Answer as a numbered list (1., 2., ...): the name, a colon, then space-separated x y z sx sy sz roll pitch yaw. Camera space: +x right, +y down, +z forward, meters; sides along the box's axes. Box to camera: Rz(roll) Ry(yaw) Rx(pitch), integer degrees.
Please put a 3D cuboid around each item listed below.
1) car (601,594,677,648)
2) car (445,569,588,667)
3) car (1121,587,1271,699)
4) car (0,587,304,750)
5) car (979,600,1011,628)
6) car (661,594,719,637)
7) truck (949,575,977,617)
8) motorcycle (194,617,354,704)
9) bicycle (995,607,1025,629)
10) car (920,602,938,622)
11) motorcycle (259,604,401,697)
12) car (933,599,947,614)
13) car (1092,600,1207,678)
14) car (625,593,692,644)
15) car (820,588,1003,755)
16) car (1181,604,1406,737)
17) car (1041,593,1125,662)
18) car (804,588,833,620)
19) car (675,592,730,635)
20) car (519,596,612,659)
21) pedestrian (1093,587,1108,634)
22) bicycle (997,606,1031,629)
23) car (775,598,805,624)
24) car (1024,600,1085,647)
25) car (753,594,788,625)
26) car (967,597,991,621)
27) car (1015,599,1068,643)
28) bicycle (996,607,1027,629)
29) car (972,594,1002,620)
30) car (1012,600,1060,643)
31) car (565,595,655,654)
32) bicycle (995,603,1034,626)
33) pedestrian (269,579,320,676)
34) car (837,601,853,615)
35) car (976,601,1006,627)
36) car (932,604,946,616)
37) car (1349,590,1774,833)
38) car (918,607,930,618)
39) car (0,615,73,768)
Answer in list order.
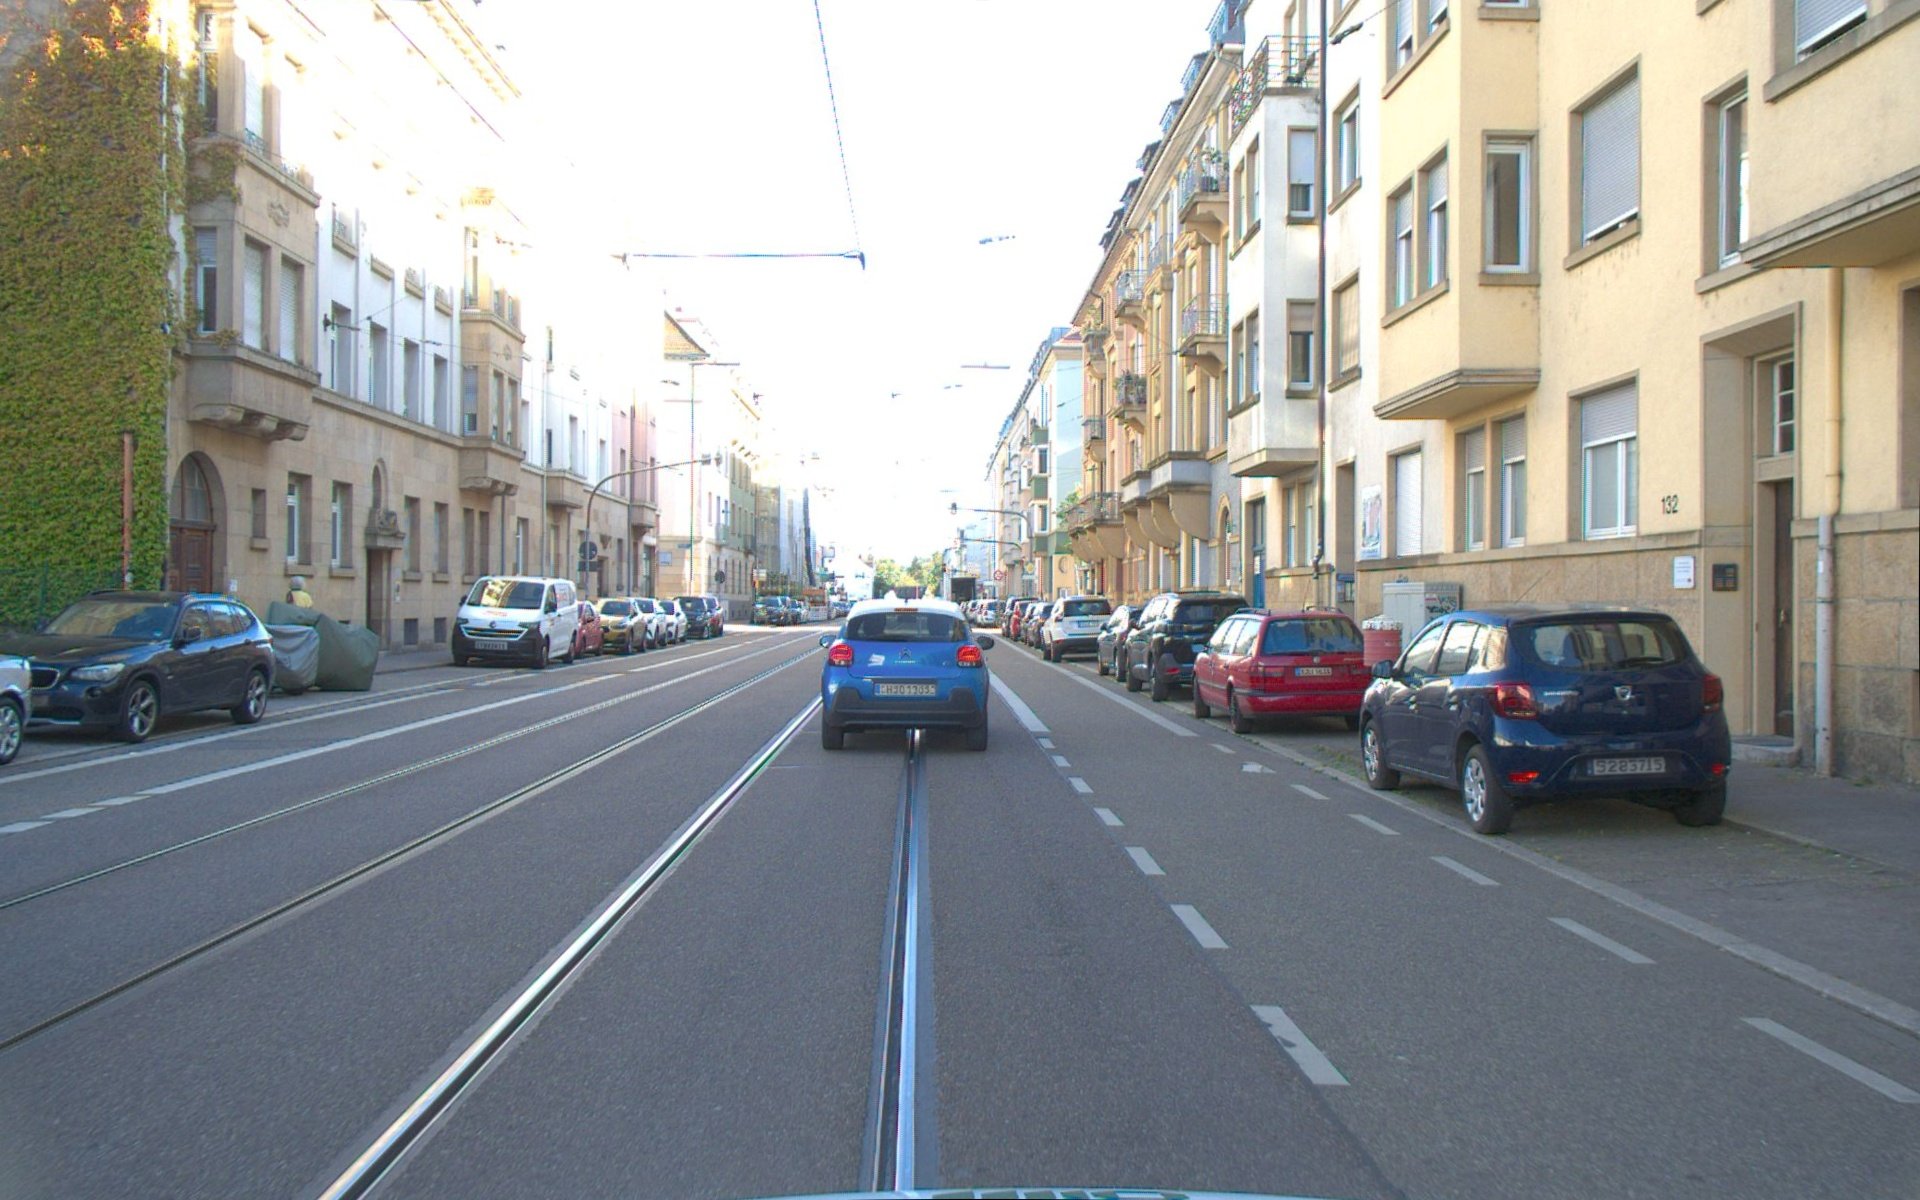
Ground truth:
1. car: -10.184 0.641 52.729 1.736 1.574 4.363 2 0 -3
2. car: -9.907 0.374 37.376 1.933 1.983 5.249 2 0 -2
3. car: 3.786 0.651 27.282 1.821 1.695 4.561 0 0 0
4. car: -9.376 0.690 18.978 1.746 1.593 4.610 2 0 1
5. car: 2.095 0.824 98.908 1.747 1.660 3.999 0 0 -1
6. car: -10.354 0.582 63.572 1.747 1.580 3.018 2 0 -1
7. truck: 0.263 -0.363 169.733 2.795 4.154 11.269 0 0 0
8. motorcycle: -9.911 0.846 23.990 0.725 1.191 2.176 1 0 28
9. bicycle: 2.878 1.046 95.661 1.688 1.174 0.469 -3 0 -1
10. car: -3.082 1.169 164.791 1.784 1.927 3.999 1 0 -1
11. motorcycle: -9.816 0.763 25.827 0.867 1.375 1.953 1 0 31
12. car: -3.115 1.014 261.817 2.175 2.324 4.083 0 0 -1
13. car: 3.731 0.740 33.105 1.702 1.467 4.031 0 0 -2
14. car: -10.499 0.624 57.768 1.748 1.650 4.176 2 0 -3
15. car: -0.501 0.684 17.827 1.700 1.534 3.991 2 0 -1
16. car: 4.063 0.794 20.920 1.821 1.481 4.708 0 0 -1
17. car: 3.208 0.694 43.880 1.805 1.720 4.503 0 0 -1
18. car: -11.412 0.350 133.718 2.102 2.519 4.977 1 0 -3
19. car: -10.541 0.522 67.885 1.748 1.634 4.394 2 0 -3
20. car: -10.164 0.685 42.857 1.570 1.498 3.645 2 0 -1
21. pedestrian: 5.187 0.381 61.215 0.502 1.716 0.447 0 0 -2
22. bicycle: 2.966 0.968 91.721 1.805 1.174 0.469 -3 0 -1
23. car: -11.325 0.724 110.300 1.748 1.655 4.606 2 0 -3
24. car: 3.144 0.759 55.619 1.621 1.509 4.472 0 0 -2
25. car: -11.258 0.534 98.594 1.748 1.720 4.665 2 0 -3
26. car: 1.463 0.703 127.929 1.695 1.859 4.685 0 0 -1
27. car: 2.961 0.730 60.568 1.621 1.539 4.473 0 0 -1
28. bicycle: 2.957 1.034 94.807 1.688 1.174 0.469 -3 0 -1
29. car: 1.863 0.500 115.553 1.623 1.782 4.597 0 0 -6
30. car: 2.971 0.828 65.069 1.717 1.622 3.729 0 0 0
31. car: -9.945 0.668 47.307 1.747 1.550 4.358 2 0 -2
32. bicycle: 2.993 0.775 91.035 2.044 1.174 0.848 -3 0 -1
33. pedestrian: -12.220 0.507 30.397 0.666 1.754 0.616 1 0 -1
34. car: -13.895 0.988 199.913 1.789 1.660 3.904 0 0 -2
35. car: 1.933 0.867 104.344 1.747 1.603 4.325 0 0 -1
36. car: -2.590 1.222 202.808 1.729 1.513 4.030 0 0 -1
37. car: 4.307 0.711 12.541 1.683 1.517 4.001 -1 0 -1
38. car: -5.573 1.964 255.831 1.789 1.660 4.489 0 0 -1
39. car: -9.479 0.810 13.958 1.747 1.337 4.220 2 0 -1
